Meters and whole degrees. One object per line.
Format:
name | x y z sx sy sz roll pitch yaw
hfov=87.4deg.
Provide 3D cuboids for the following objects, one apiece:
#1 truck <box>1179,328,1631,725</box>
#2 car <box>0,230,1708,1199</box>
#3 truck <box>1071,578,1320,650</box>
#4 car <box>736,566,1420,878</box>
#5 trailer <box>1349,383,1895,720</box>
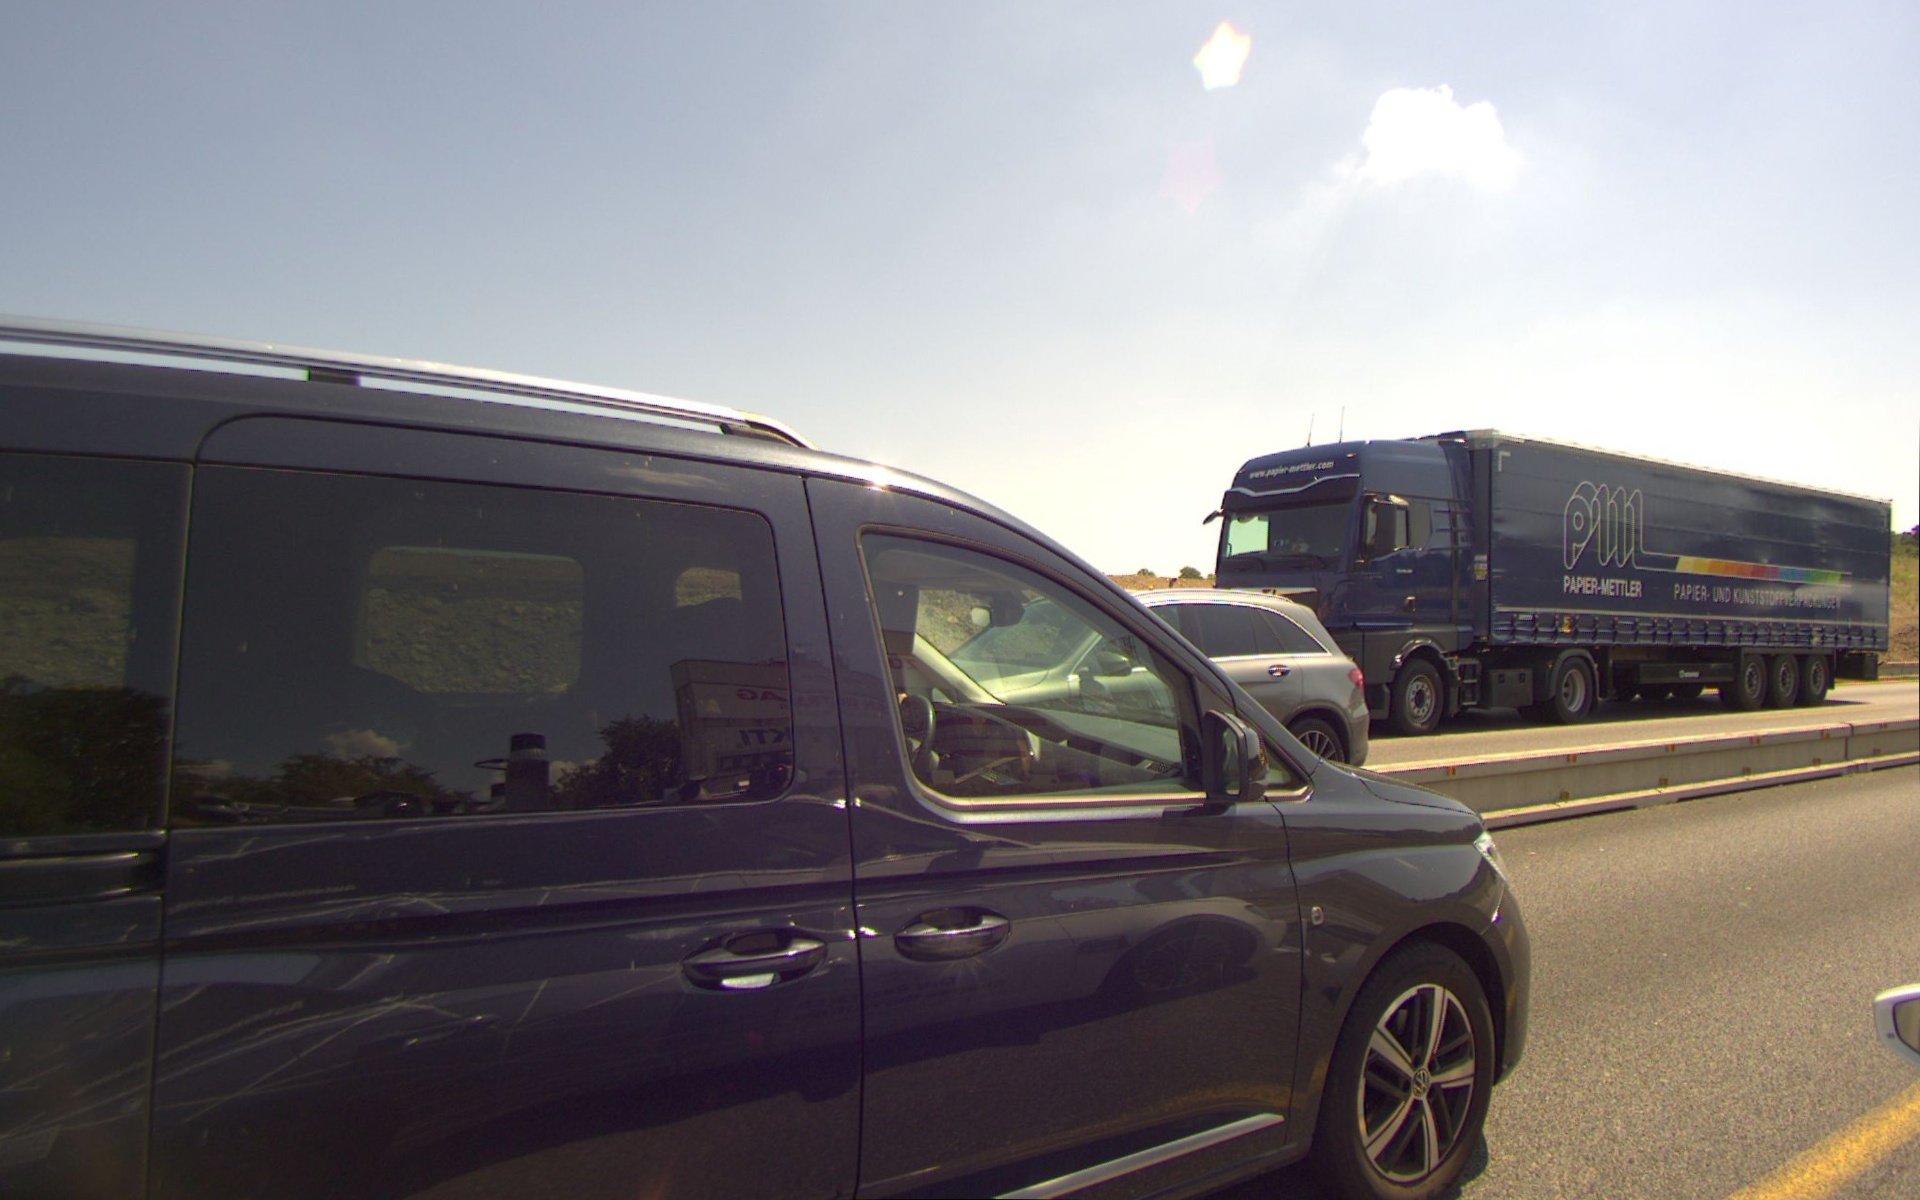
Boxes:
truck | 6.611 -0.799 14.783 6.171 4.714 2.951 2 0 -30
car | -0.279 0.539 2.520 4.726 1.849 1.743 1 1 -30
truck | 7.872 0.502 32.897 8.707 2.086 2.548 2 0 -32
car | 1.006 0.700 7.361 4.828 1.651 1.859 2 0 -30
trailer | 12.653 -0.504 18.405 12.733 4.657 2.971 2 0 -30
